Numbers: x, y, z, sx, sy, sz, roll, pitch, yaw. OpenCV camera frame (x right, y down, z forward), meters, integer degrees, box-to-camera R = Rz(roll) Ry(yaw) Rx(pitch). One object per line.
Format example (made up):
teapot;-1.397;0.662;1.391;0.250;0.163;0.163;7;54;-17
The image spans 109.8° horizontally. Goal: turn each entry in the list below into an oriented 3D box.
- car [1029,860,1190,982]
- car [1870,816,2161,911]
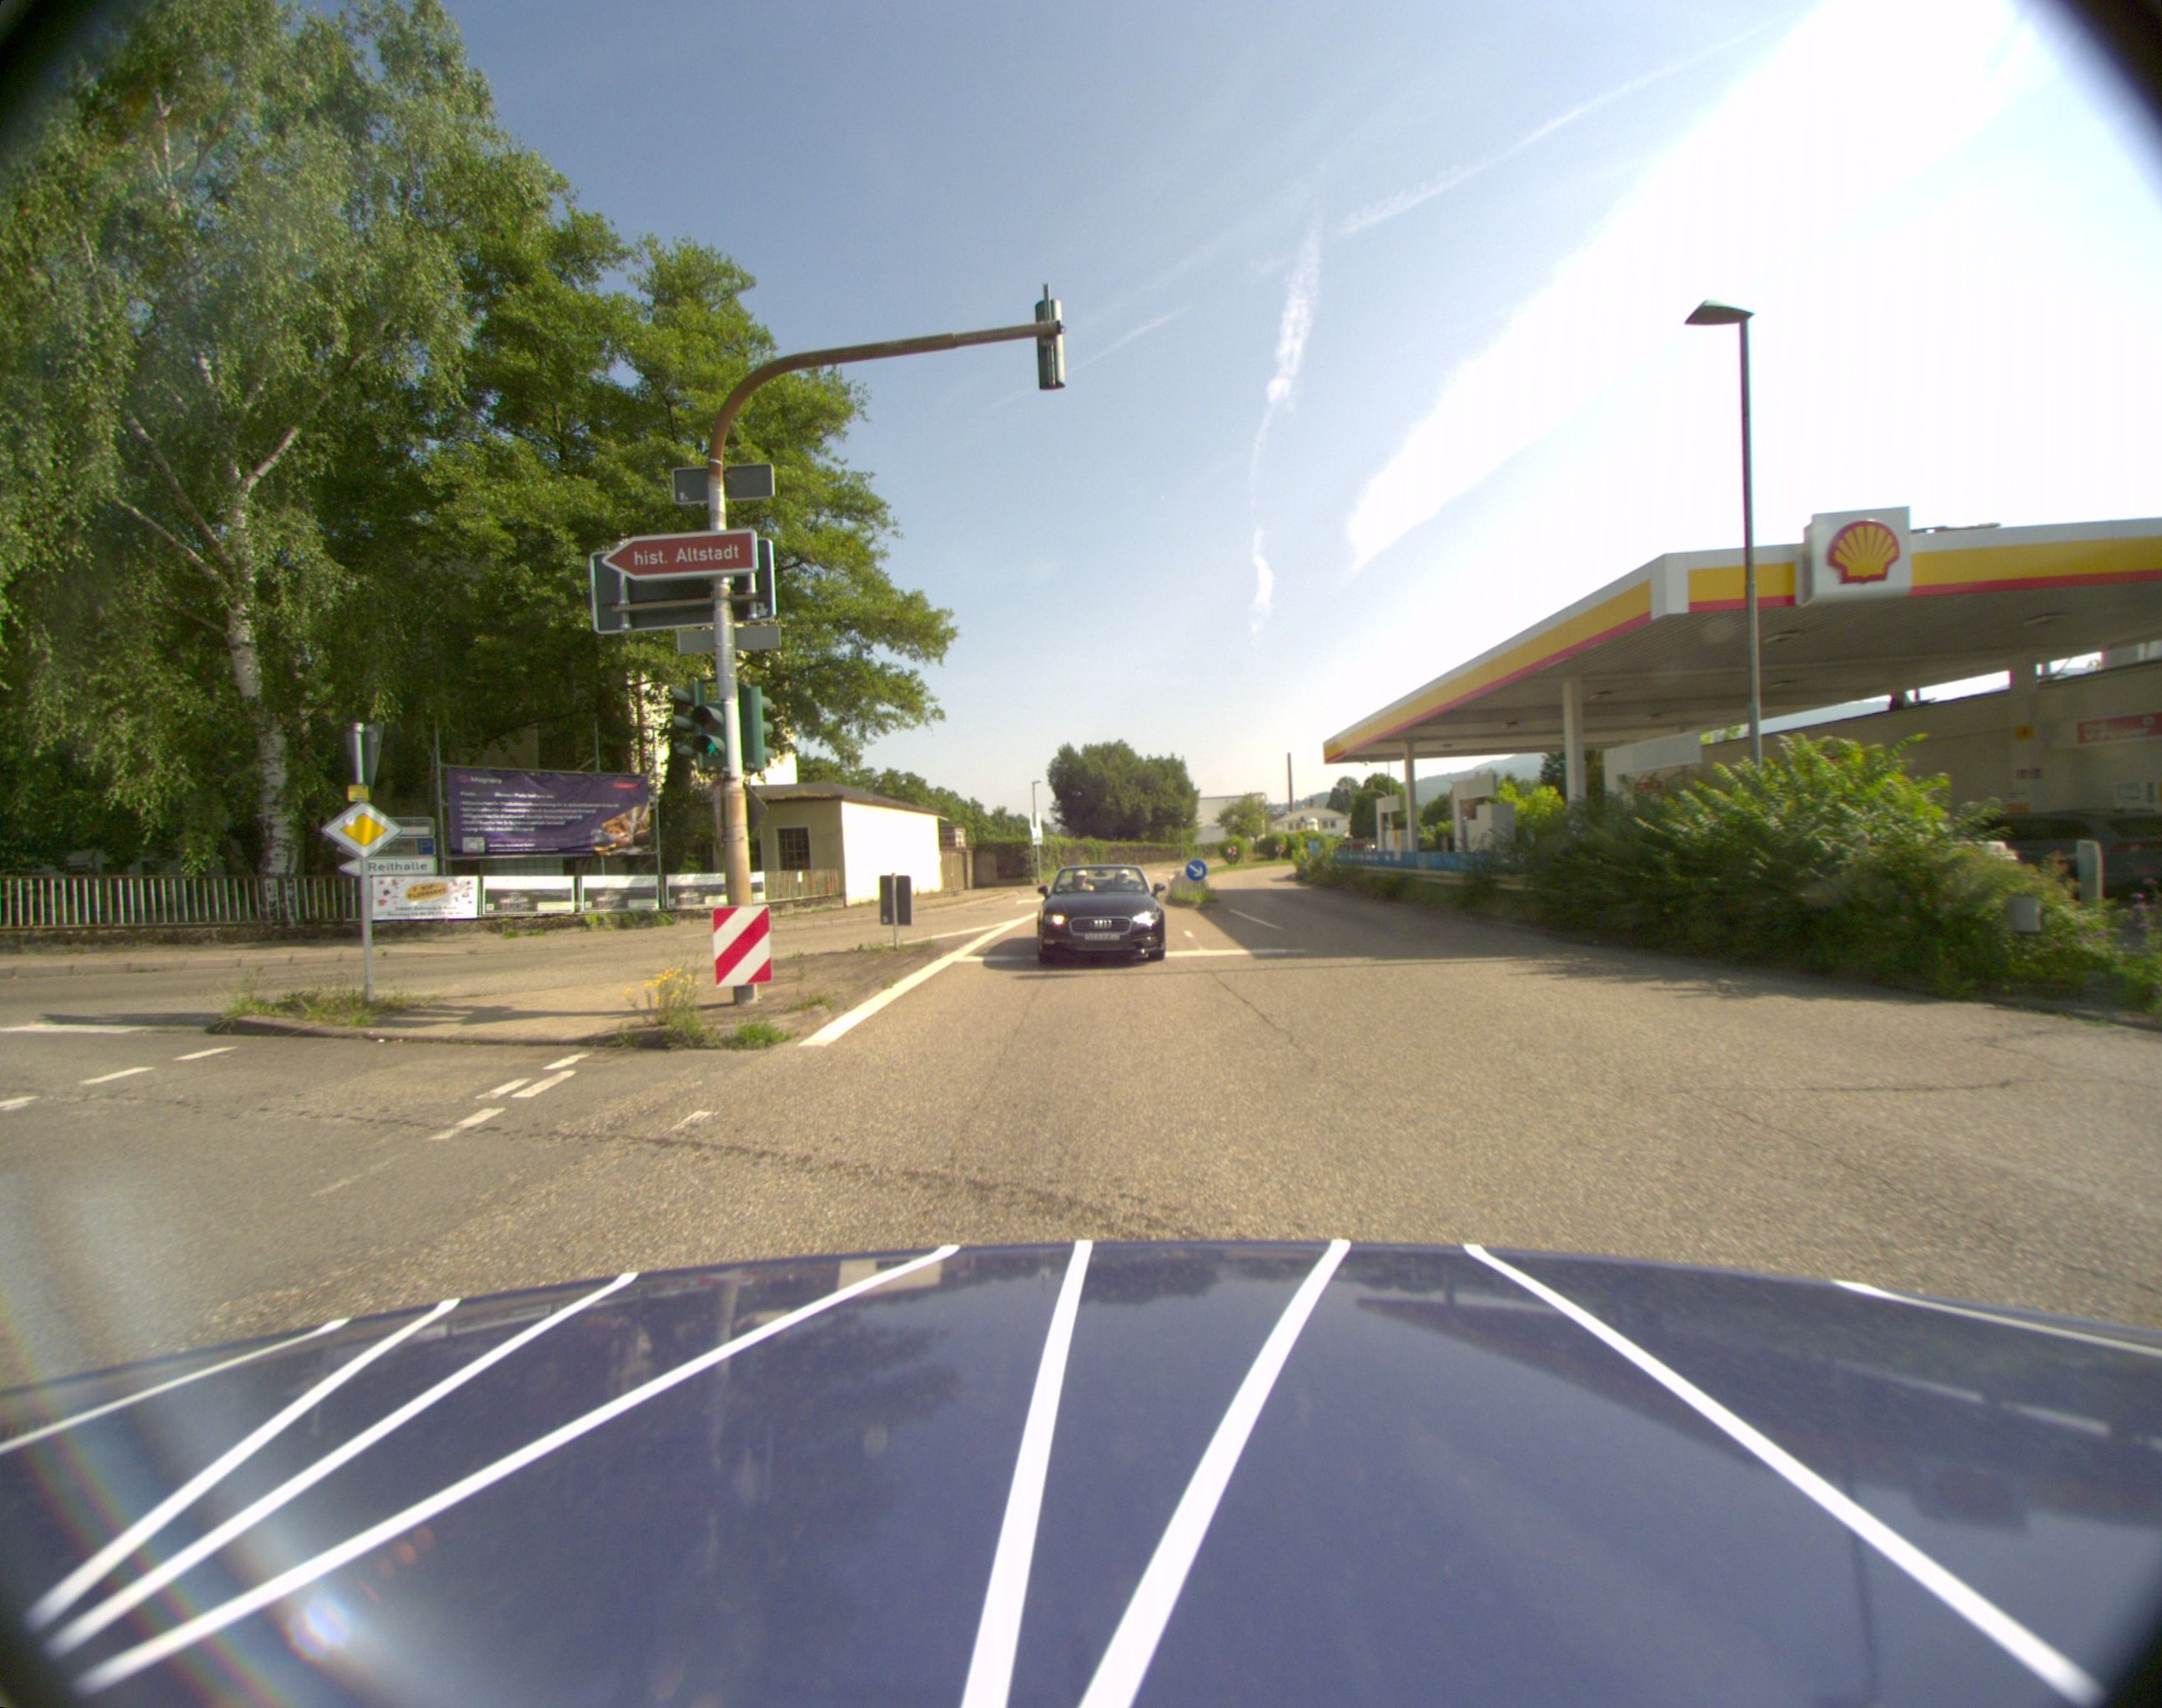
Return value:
car;0.376;0.819;11.172;1.869;1.323;4.232;-2;0;1
car;16.871;0.103;13.436;1.631;1.403;4.228;-2;1;4
